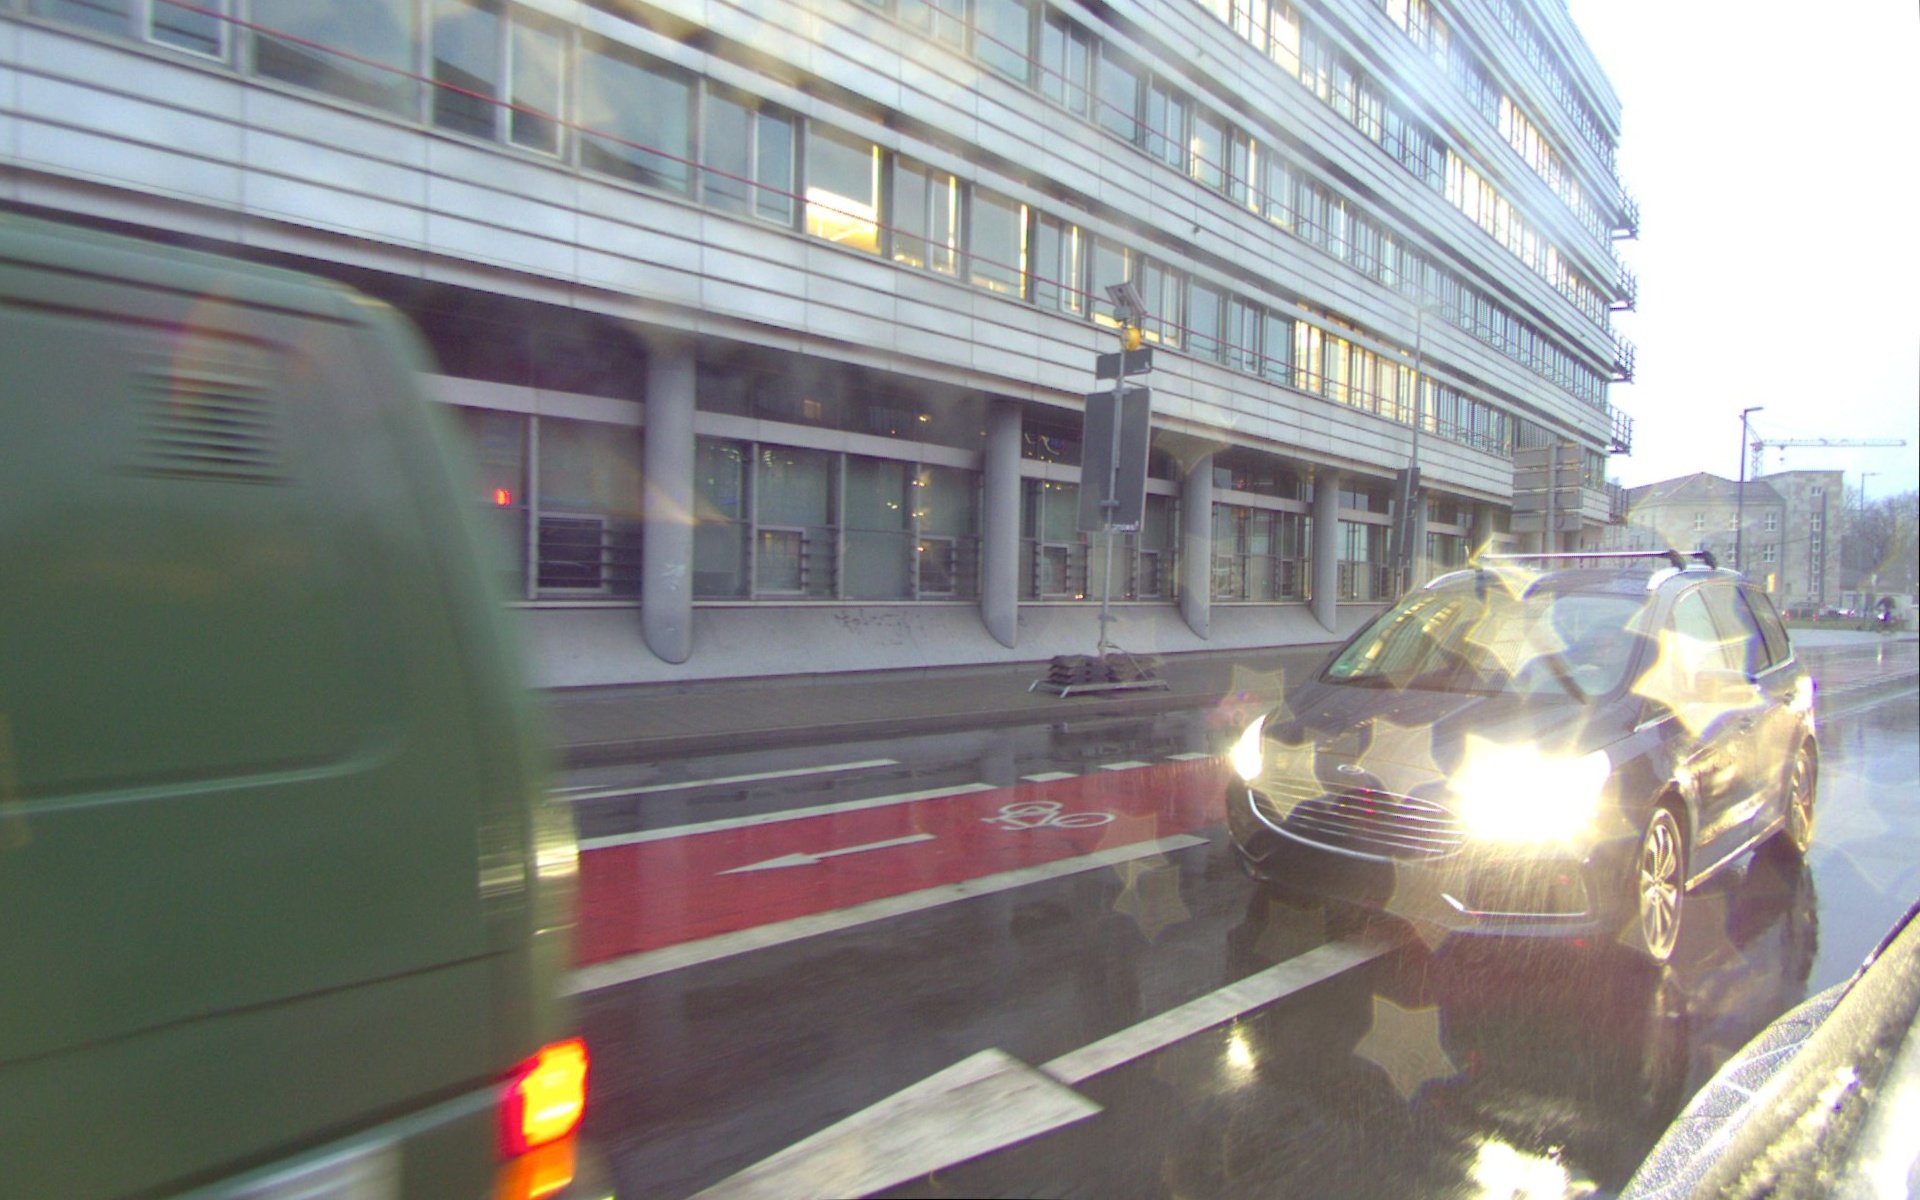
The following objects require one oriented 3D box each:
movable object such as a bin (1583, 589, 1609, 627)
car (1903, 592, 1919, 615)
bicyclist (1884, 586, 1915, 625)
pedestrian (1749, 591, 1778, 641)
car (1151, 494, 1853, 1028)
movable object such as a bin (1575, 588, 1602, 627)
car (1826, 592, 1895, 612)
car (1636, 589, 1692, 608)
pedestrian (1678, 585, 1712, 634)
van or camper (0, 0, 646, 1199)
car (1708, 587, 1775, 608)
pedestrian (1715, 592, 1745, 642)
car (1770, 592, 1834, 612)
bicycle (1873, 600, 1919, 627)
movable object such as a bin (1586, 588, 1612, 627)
[{"bbox_3d":[24.494,0.295,38.981,0.826,1.446,0.665,0,1,-44],"label":"movable object such as a bin"},{"bbox_3d":[75.537,0.332,77.891,1.743,1.730,3.932,1,1,-27],"label":"car"},{"bbox_3d":[44.610,0.251,48.067,0.794,1.820,0.669,1,1,13],"label":"bicyclist"},{"bbox_3d":[27.926,0.547,35.160,0.870,1.689,0.615,0,3,-44],"label":"pedestrian"},{"bbox_3d":[3.294,0.548,5.681,4.587,1.834,1.887,0,0,-40],"label":"car"},{"bbox_3d":[23.836,0.278,38.396,0.826,1.446,0.665,0,1,-44],"label":"movable object such as a bin"},{"bbox_3d":[73.234,0.155,82.378,1.743,1.556,3.775,1,1,-24],"label":"car"},{"bbox_3d":[67.536,-0.183,97.156,1.958,1.693,4.012,1,1,-25],"label":"car"},{"bbox_3d":[26.920,0.326,37.063,0.953,1.722,0.746,0,4,-44],"label":"pedestrian"},{"bbox_3d":[-2.609,0.421,0.532,4.341,1.931,1.760,0,0,-41],"label":"van or camper"},{"bbox_3d":[70.001,-0.224,90.721,1.958,1.782,4.385,1,1,-25],"label":"car"},{"bbox_3d":[27.188,0.595,35.730,0.870,1.723,0.650,0,3,-44],"label":"pedestrian"},{"bbox_3d":[71.819,0.150,86.352,1.743,1.556,3.775,1,1,-24],"label":"car"},{"bbox_3d":[44.632,0.630,48.072,1.735,1.213,0.679,1,1,14],"label":"bicycle"},{"bbox_3d":[25.068,0.295,39.716,0.826,1.495,0.665,0,1,-44],"label":"movable object such as a bin"}]
